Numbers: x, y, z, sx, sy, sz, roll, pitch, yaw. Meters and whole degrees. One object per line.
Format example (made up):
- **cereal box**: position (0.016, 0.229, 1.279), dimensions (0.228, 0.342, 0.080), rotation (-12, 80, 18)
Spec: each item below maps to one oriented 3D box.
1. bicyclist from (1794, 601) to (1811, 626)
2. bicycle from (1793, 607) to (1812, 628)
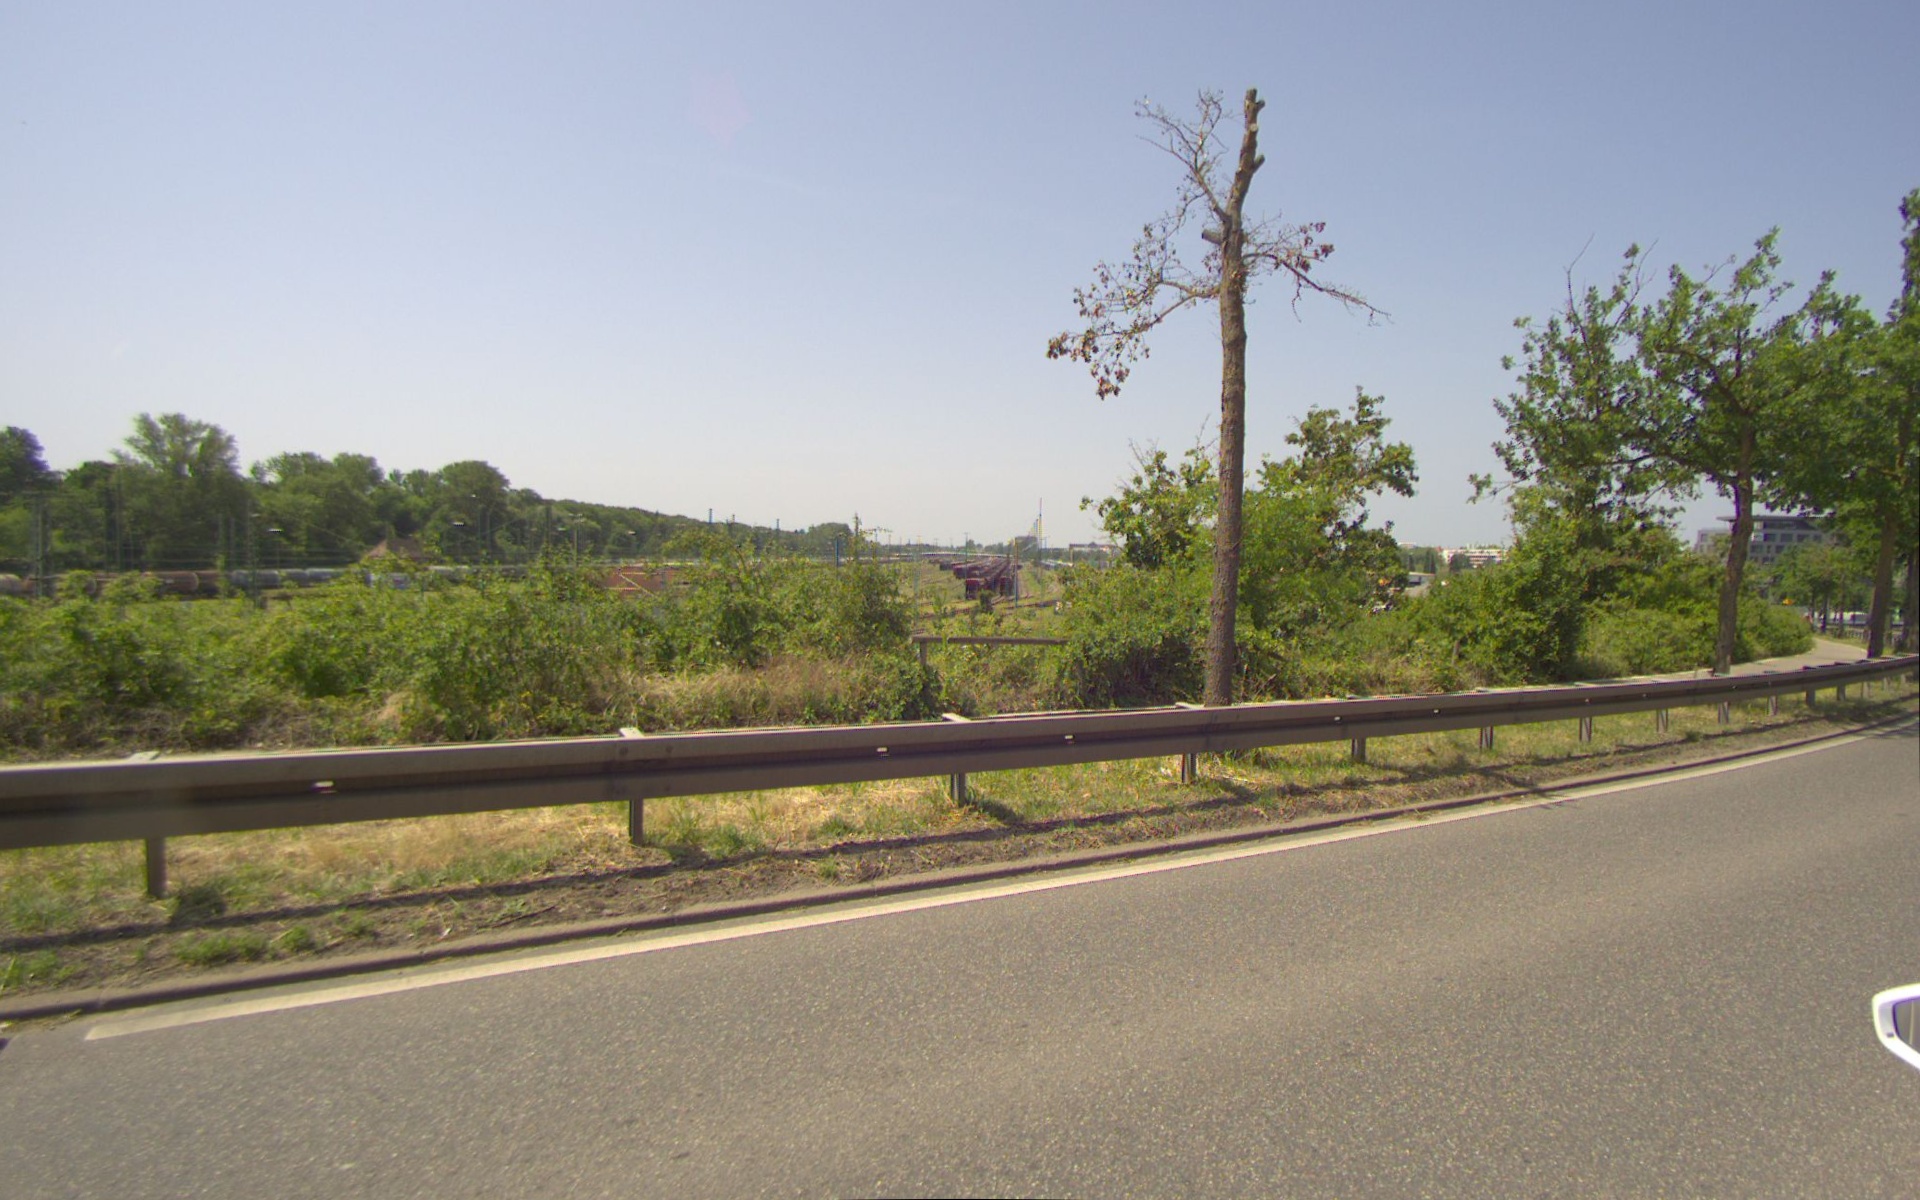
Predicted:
- **bicyclist**: position (53.025, 0.856, 63.209), dimensions (0.732, 1.509, 0.754), rotation (2, 1, 36)
- **bicycle**: position (53.024, 1.111, 63.229), dimensions (0.724, 1.298, 2.039), rotation (2, 0, 36)
